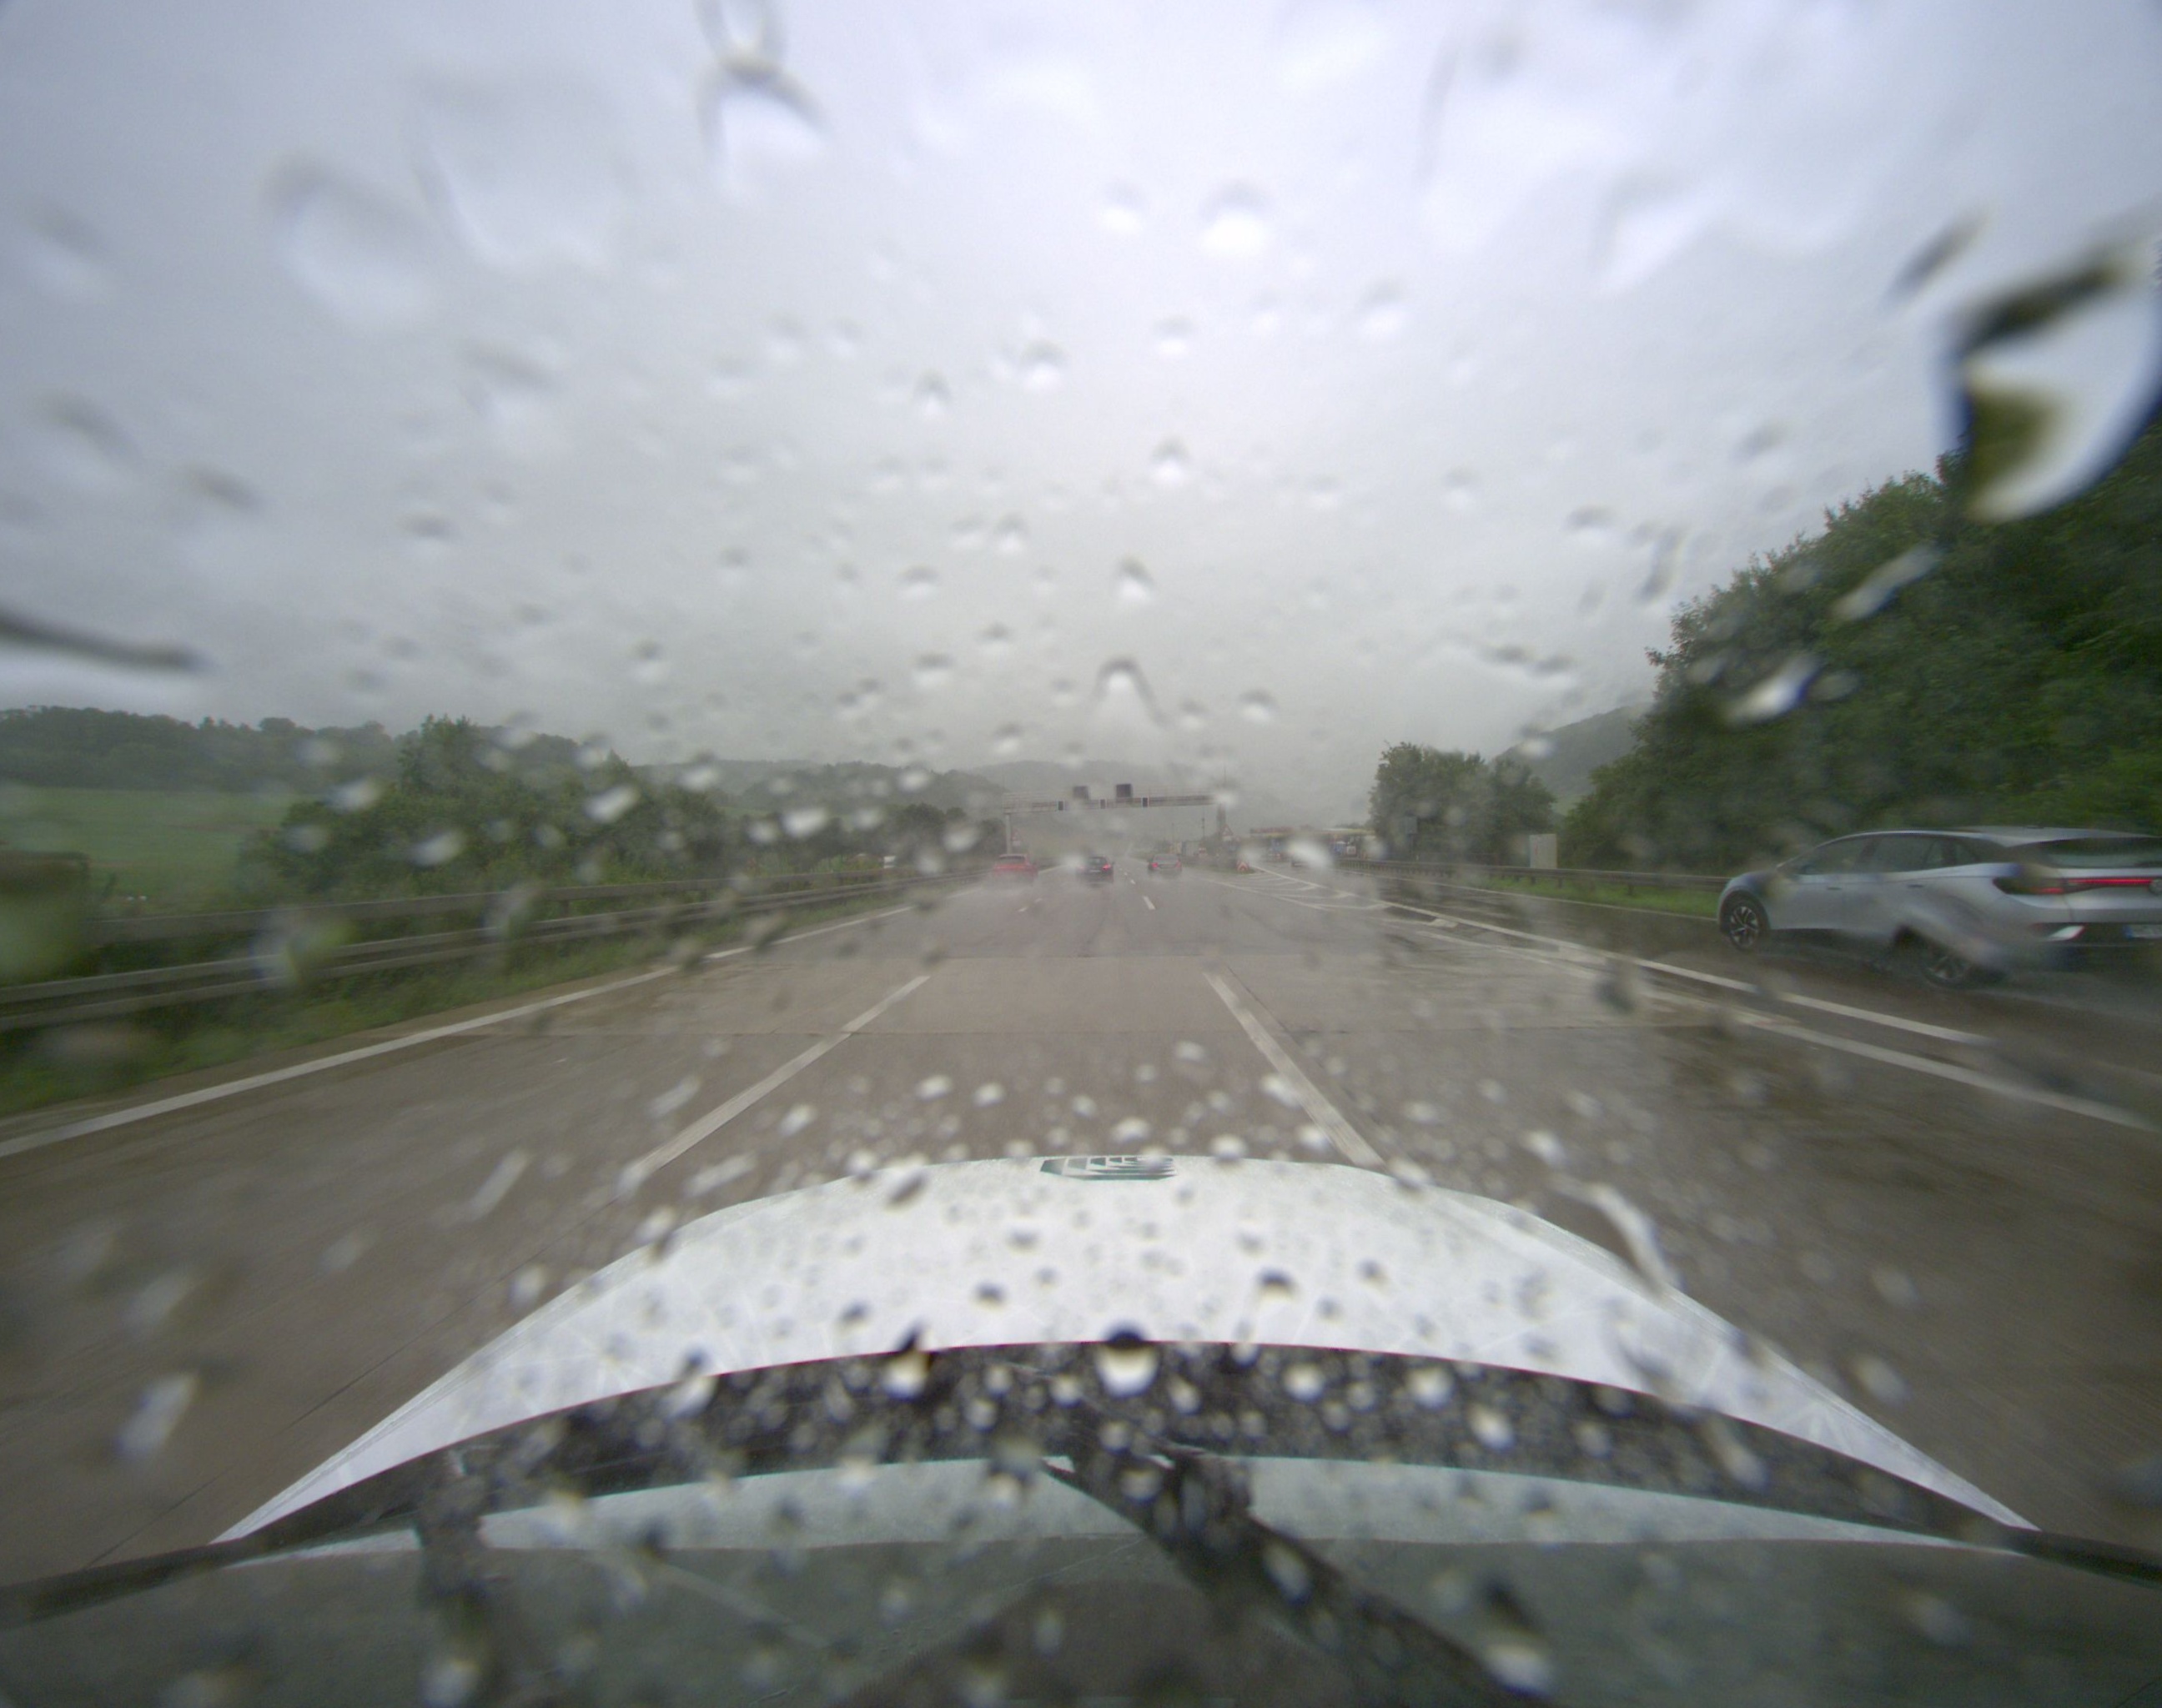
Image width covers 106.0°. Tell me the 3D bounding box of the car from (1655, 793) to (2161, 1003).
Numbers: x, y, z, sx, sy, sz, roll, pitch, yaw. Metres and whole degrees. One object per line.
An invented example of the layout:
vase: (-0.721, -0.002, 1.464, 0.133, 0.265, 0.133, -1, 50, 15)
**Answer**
car: (9.530, 0.378, 9.591, 1.984, 1.750, 5.671, 0, 0, 5)

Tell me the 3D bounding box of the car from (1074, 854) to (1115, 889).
car: (0.718, 0.819, 39.034, 1.852, 1.589, 4.002, 0, 0, 2)

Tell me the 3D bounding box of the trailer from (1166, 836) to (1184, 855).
trailer: (22.288, -1.880, 193.078, 3.501, 4.261, 11.930, 0, 0, 3)

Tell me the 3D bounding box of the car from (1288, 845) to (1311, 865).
car: (23.606, 0.093, 87.988, 1.981, 2.013, 5.069, -1, 0, 11)

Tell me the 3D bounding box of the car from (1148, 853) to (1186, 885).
car: (5.013, 0.827, 48.047, 1.964, 1.760, 4.003, -1, 0, 2)

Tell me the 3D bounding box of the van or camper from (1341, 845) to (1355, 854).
van or camper: (62.375, -0.954, 190.216, 1.986, 2.014, 4.001, 0, 0, 2)

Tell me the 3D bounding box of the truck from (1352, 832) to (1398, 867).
truck: (38.980, -0.539, 107.620, 2.842, 4.256, 11.947, 0, 0, 34)

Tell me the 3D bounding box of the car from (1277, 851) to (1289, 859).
car: (49.349, 0.178, 198.807, 1.986, 2.014, 4.903, 0, 0, 2)

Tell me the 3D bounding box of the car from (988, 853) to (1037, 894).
car: (-3.233, 0.875, 39.068, 1.877, 1.816, 4.001, -1, 0, 1)

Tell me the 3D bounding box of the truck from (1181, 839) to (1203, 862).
truck: (22.128, -0.774, 162.993, 3.387, 4.402, 11.056, 0, 0, 3)
